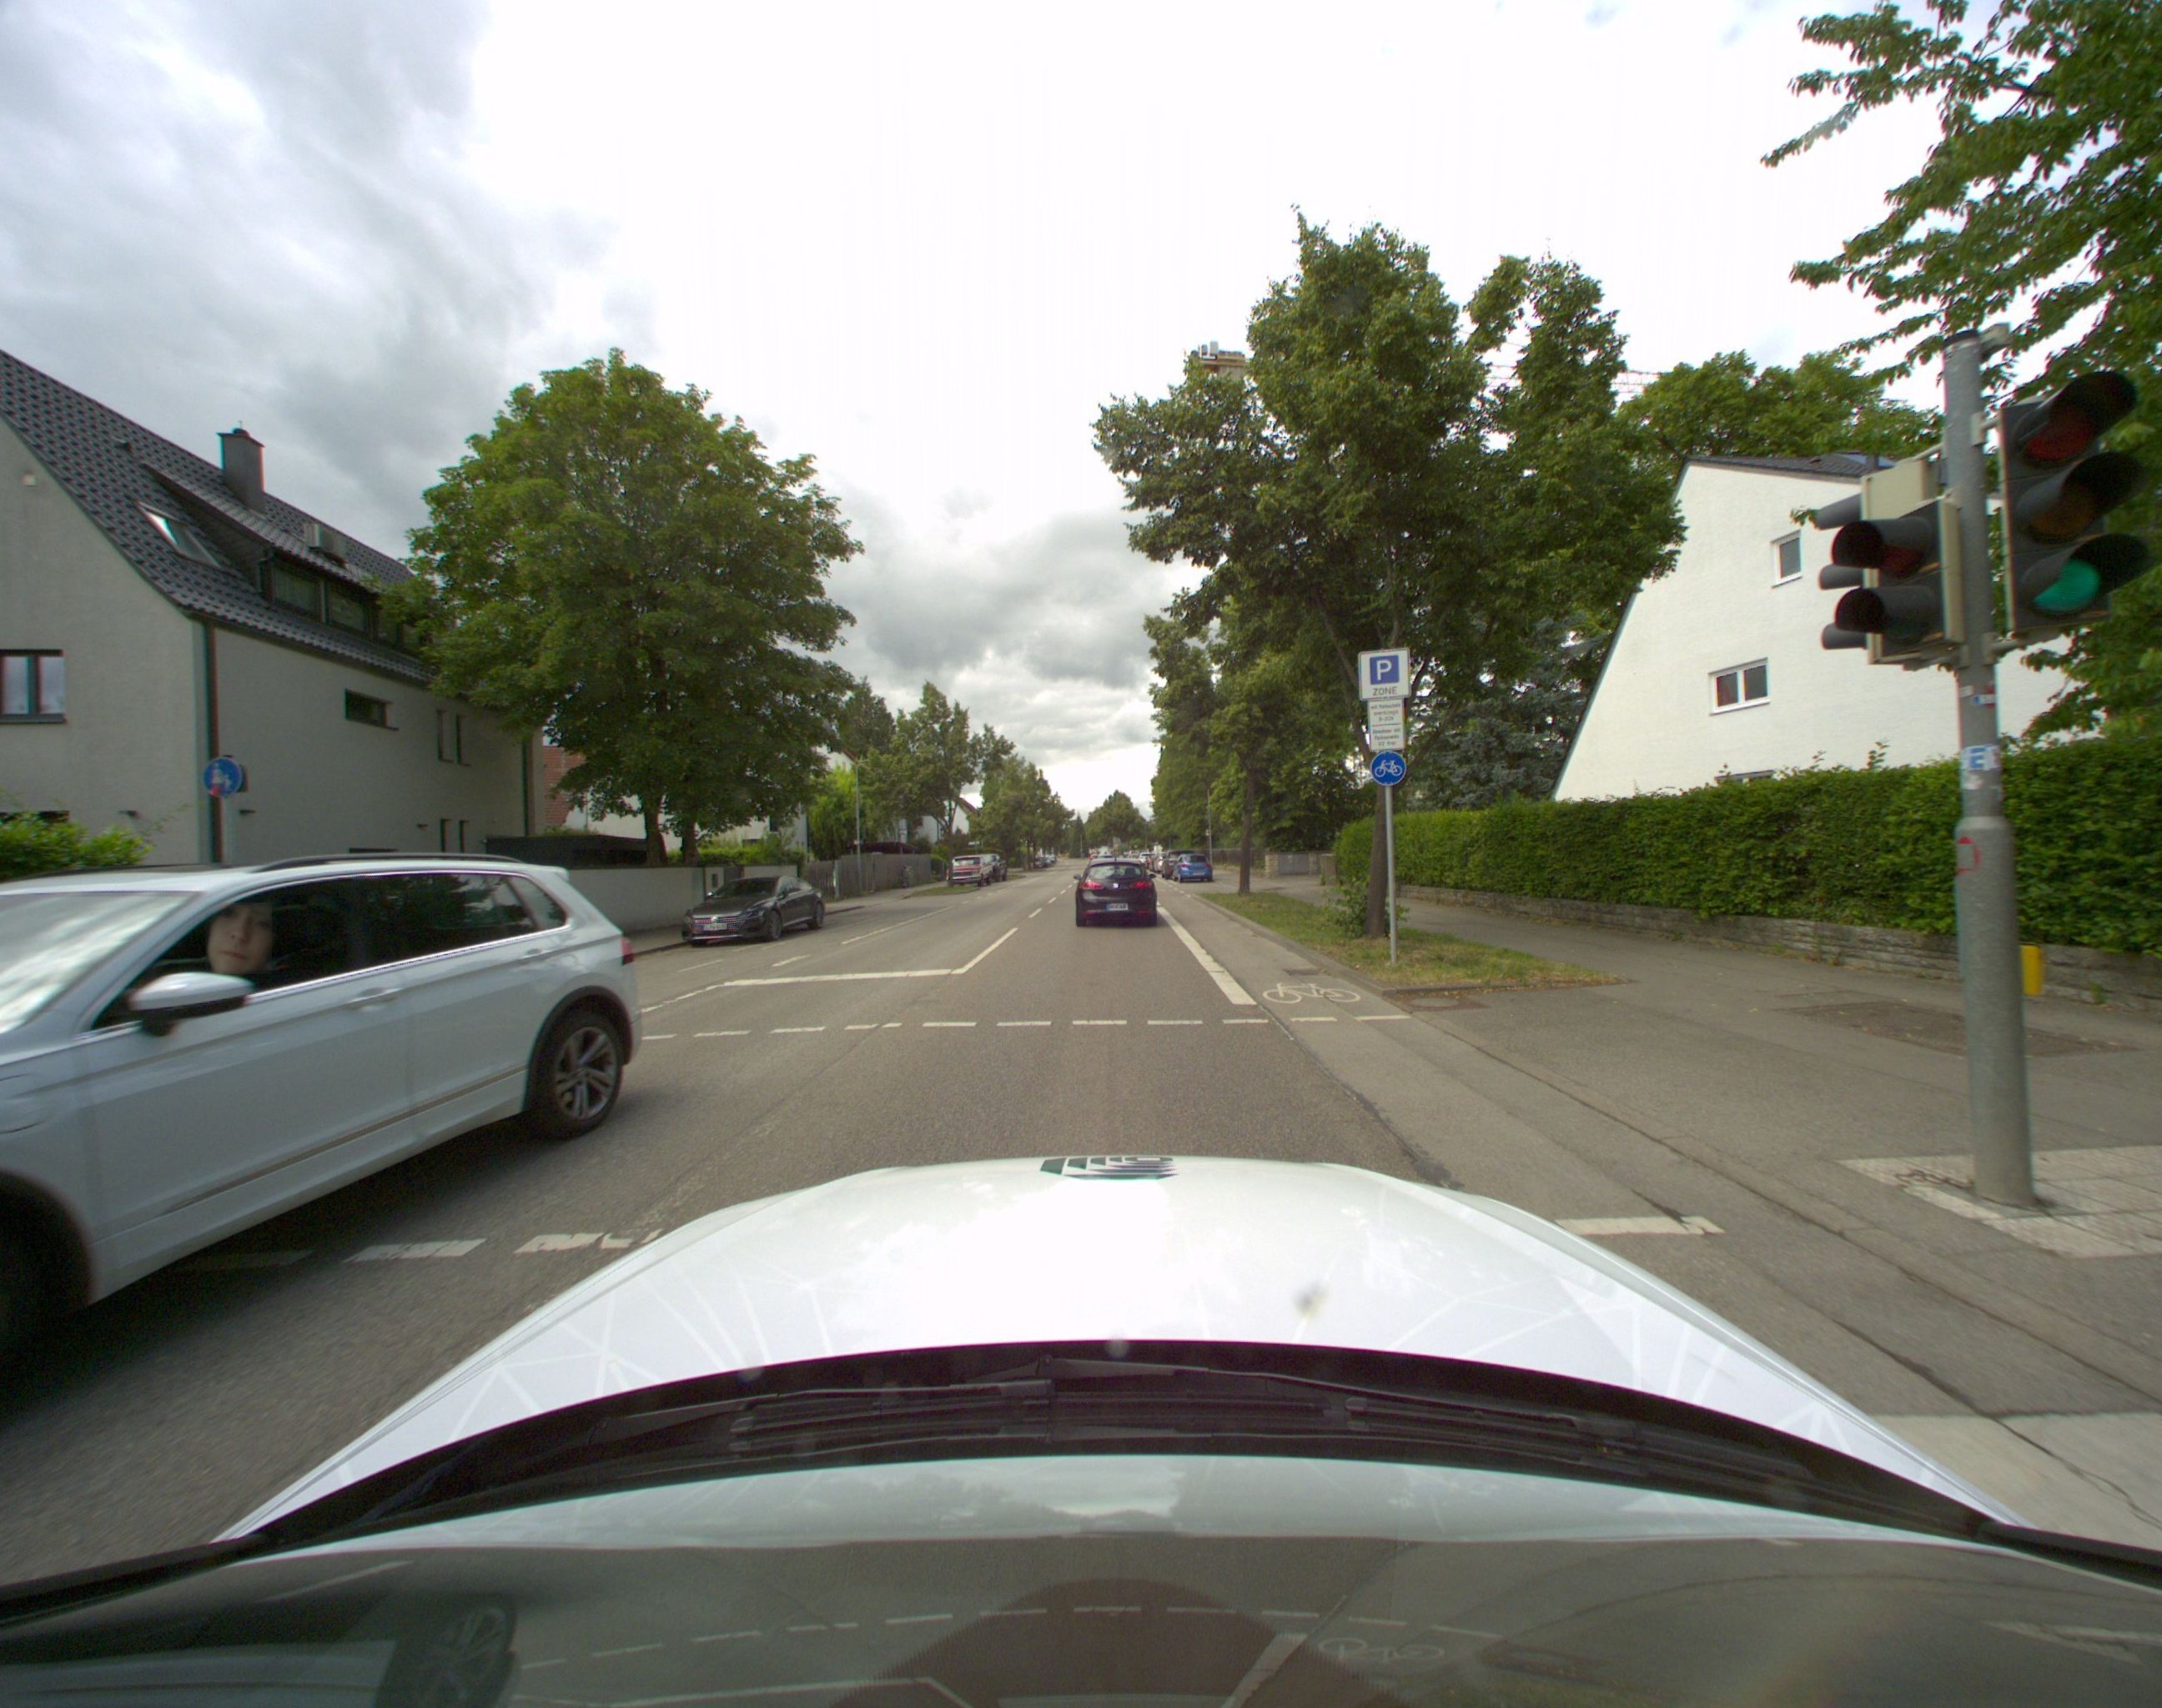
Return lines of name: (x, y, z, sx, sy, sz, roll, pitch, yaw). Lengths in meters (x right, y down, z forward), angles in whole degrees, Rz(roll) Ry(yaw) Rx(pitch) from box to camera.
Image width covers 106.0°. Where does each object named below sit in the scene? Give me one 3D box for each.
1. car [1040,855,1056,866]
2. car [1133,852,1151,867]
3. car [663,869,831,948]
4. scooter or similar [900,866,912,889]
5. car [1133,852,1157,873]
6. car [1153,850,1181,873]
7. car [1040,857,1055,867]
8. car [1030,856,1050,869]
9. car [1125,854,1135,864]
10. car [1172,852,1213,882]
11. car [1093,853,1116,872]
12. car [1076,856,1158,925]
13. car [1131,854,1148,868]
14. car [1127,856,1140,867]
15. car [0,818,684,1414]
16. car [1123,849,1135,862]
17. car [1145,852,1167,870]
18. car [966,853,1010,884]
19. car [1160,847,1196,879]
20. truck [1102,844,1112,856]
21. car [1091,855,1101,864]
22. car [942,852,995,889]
car: (-5.108, 0.972, 128.067, 2.092, 1.506, 5.785, -4, 0, 1)
car: (6.764, 0.567, 90.799, 1.682, 1.564, 4.214, -2, 0, 1)
car: (-7.413, 1.130, 18.683, 1.712, 1.395, 4.802, -4, 0, 1)
scooter or similar: (-9.607, 1.285, 44.736, 0.386, 1.230, 1.497, -2, 0, -3)
car: (5.214, 0.691, 66.666, 1.682, 1.564, 4.214, -2, 0, 1)
car: (6.310, 0.534, 60.147, 1.682, 1.564, 4.214, -2, 0, 1)
car: (-5.718, 1.316, 138.128, 2.092, 1.506, 5.785, -4, 0, 1)
car: (-5.227, 1.067, 105.371, 2.092, 1.506, 5.785, -4, 0, 1)
car: (9.489, 0.918, 158.405, 1.682, 1.875, 4.214, -2, 0, 1)
car: (5.796, 0.660, 42.556, 1.682, 1.490, 3.355, -2, 0, 1)
car: (1.989, 0.726, 68.860, 1.838, 1.510, 3.814, 0, 0, 3)
car: (0.737, 0.757, 18.472, 1.657, 1.401, 3.811, 0, 0, 0)
car: (6.894, 0.854, 96.582, 1.682, 1.564, 4.214, -2, 0, 1)
car: (7.422, 1.029, 115.324, 1.682, 1.564, 4.214, -2, 0, 1)
car: (-3.865, 0.775, 3.537, 1.867, 1.635, 4.344, -4, 0, 3)
car: (7.202, 0.290, 122.317, 1.682, 1.875, 4.214, -2, 0, 1)
car: (6.954, 0.662, 75.409, 1.682, 1.564, 4.214, -2, 0, 1)
car: (-6.263, 0.942, 55.593, 2.092, 1.896, 5.785, -4, 0, 1)
car: (5.624, 0.511, 47.672, 1.682, 1.711, 4.214, -2, 0, 1)
truck: (6.890, -1.004, 217.242, 2.271, 3.104, 8.510, 0, -1, 1)
car: (2.869, 0.988, 157.243, 1.875, 1.689, 4.214, -2, 0, 1)
car: (-6.521, 0.918, 47.930, 2.092, 1.896, 5.785, -4, 0, 1)
